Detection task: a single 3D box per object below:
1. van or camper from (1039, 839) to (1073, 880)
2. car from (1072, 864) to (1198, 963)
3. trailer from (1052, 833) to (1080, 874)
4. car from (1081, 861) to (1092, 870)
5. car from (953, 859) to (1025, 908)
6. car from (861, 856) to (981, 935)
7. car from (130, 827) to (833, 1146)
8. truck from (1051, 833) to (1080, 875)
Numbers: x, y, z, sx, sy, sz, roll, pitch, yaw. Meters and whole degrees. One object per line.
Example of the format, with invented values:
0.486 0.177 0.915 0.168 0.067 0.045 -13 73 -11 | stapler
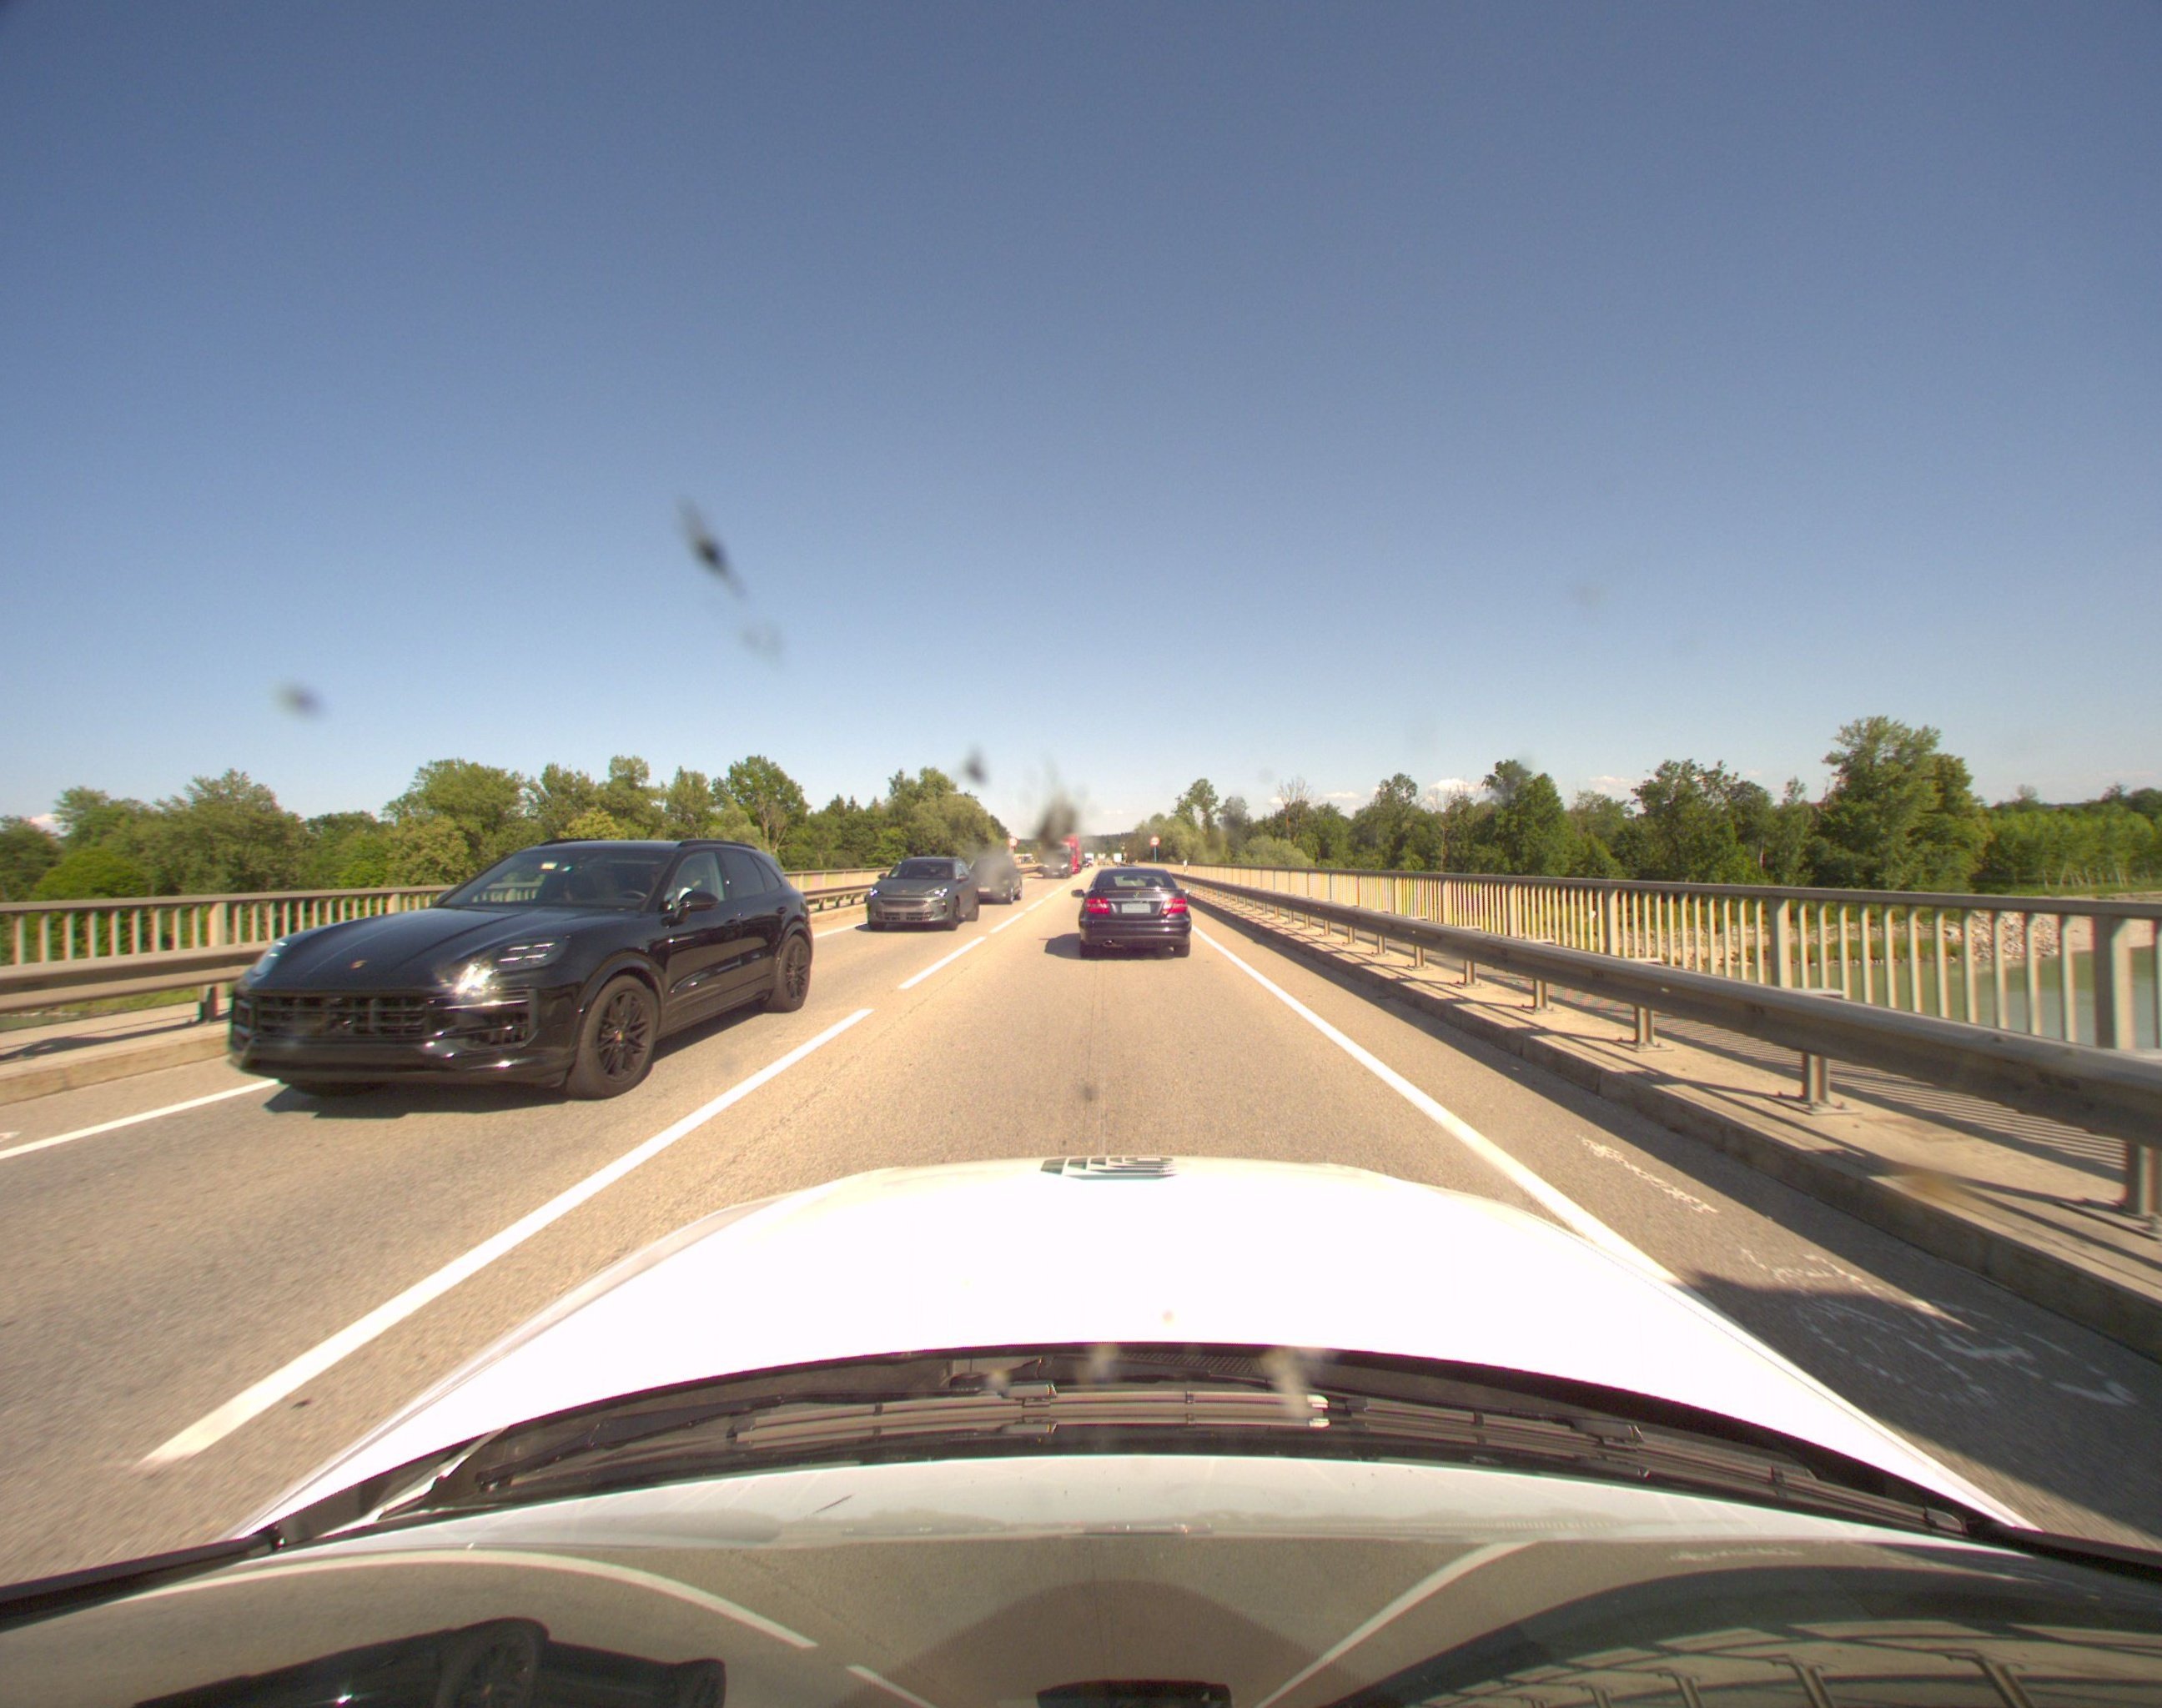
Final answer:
-1.945 0.455 65.310 2.307 3.051 6.817 -1 0 1 | van or camper
0.870 0.874 13.629 1.786 1.376 4.003 0 0 3 | car
-1.835 0.017 92.444 2.900 4.302 14.288 0 0 -2 | trailer
0.979 2.235 158.823 1.837 1.642 4.571 -1 0 -3 | car
-3.174 0.987 28.848 1.867 1.584 4.276 0 0 3 | car
-3.474 0.847 18.501 1.800 1.577 4.202 0 0 1 | car
-3.857 0.704 6.616 2.045 1.653 4.724 0 0 3 | car
-1.631 0.027 84.940 2.900 4.184 5.709 0 -1 -1 | truck
